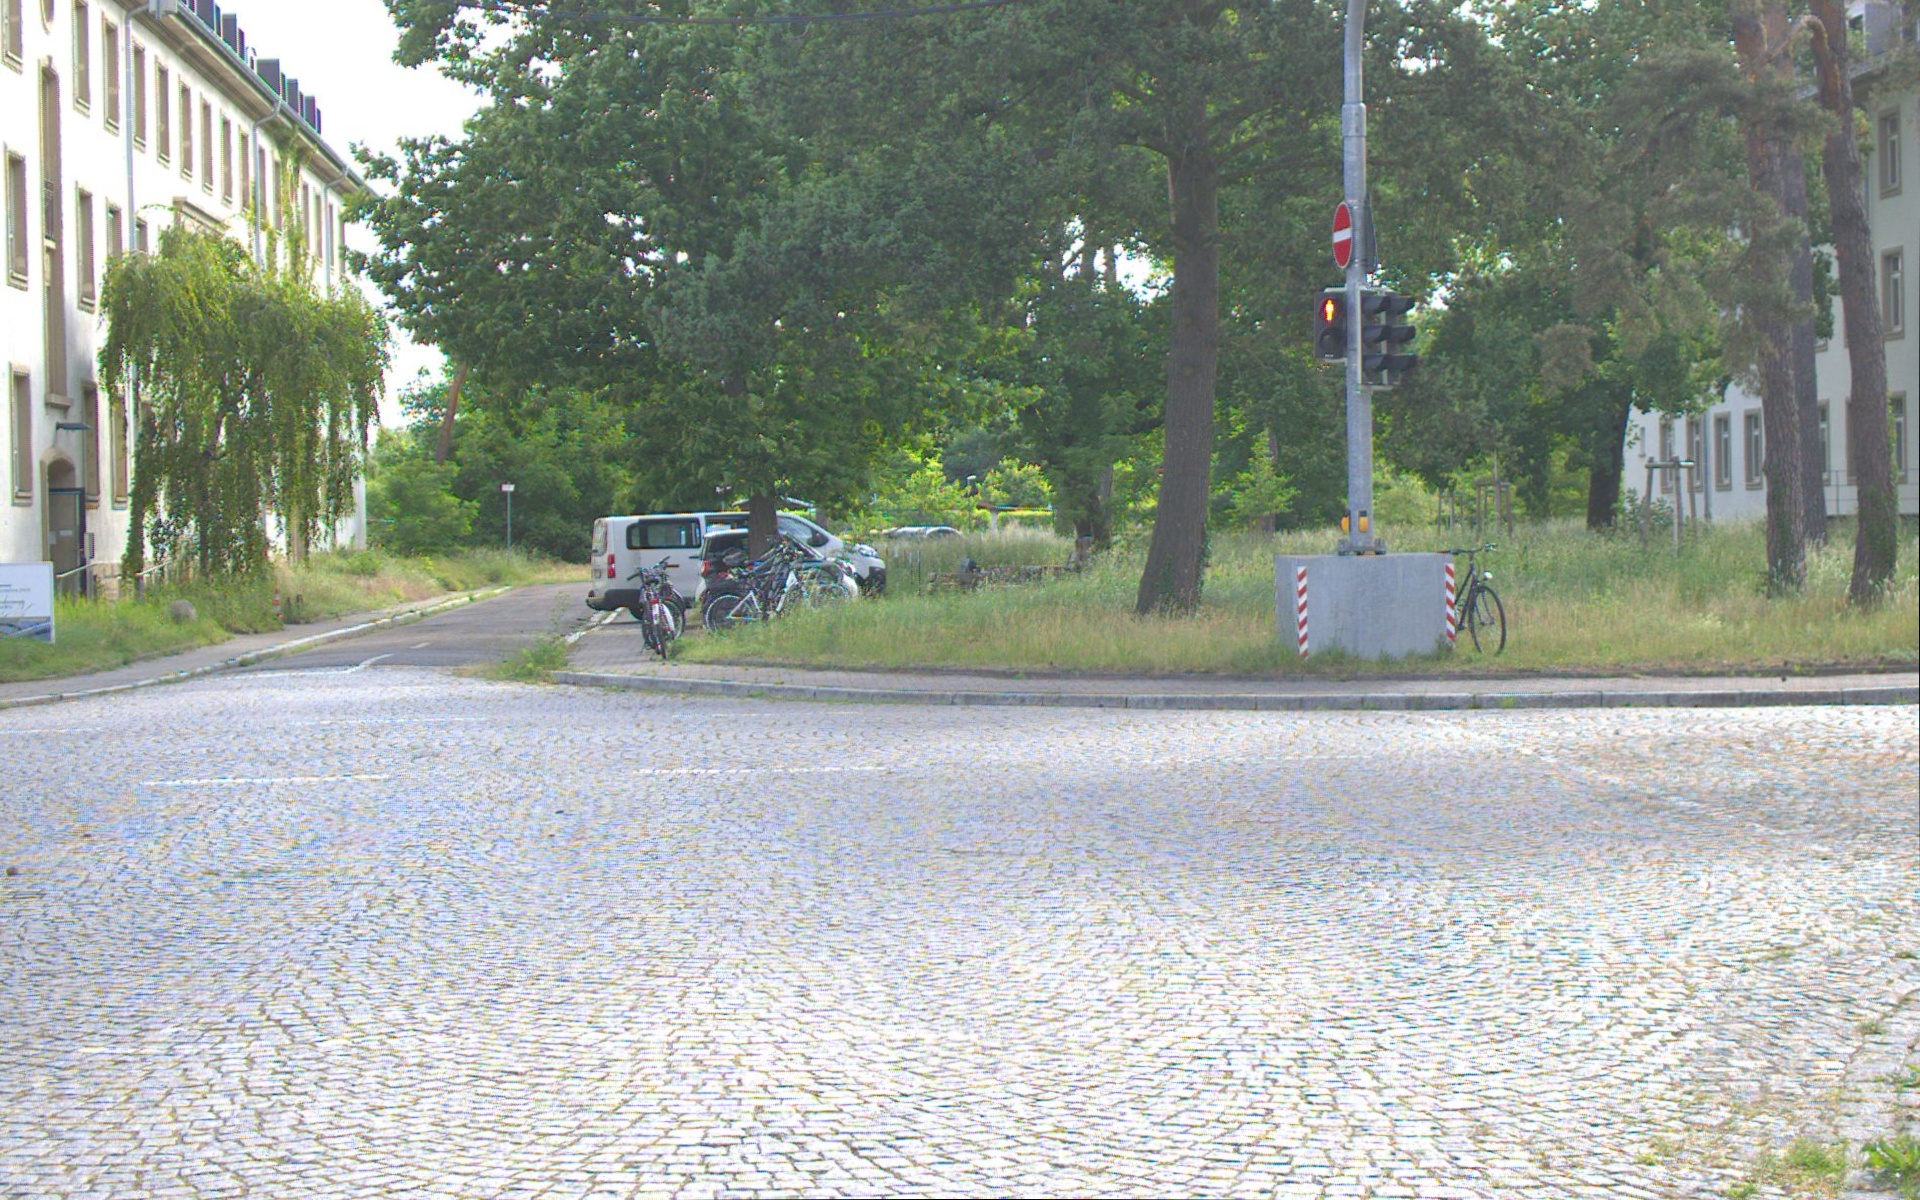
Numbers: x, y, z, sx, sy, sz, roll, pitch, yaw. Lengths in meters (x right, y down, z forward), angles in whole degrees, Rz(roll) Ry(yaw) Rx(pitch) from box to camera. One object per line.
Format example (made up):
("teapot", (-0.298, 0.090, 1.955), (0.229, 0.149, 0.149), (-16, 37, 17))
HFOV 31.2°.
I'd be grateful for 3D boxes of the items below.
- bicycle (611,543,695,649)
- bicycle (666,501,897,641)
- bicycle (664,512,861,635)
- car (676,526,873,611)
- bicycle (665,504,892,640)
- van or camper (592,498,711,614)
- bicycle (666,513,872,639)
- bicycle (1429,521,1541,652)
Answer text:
("bicycle", (-3.473, -0.062, 39.059), (0.725, 1.104, 2.462), (-6, 1, -2))
("bicycle", (-2.262, -0.374, 43.413), (2.775, 1.688, 1.120), (-1, 1, -9))
("bicycle", (-2.832, -0.389, 49.490), (2.775, 1.688, 1.120), (1, 1, -2))
("car", (-3.131, -0.540, 57.782), (3.137, 1.349, 1.620), (-1, 1, -9))
("bicycle", (-2.367, -0.372, 44.603), (2.775, 1.688, 1.120), (-1, 1, -11))
("van or camper", (-5.536, -0.829, 61.784), (1.993, 1.942, 6.053), (-1, 1, -5))
("bicycle", (-2.658, -0.348, 48.160), (2.775, 1.688, 1.120), (1, 1, 0))
("bicycle", (4.867, -0.141, 32.011), (0.724, 1.165, 2.737), (1, 1, 3))
